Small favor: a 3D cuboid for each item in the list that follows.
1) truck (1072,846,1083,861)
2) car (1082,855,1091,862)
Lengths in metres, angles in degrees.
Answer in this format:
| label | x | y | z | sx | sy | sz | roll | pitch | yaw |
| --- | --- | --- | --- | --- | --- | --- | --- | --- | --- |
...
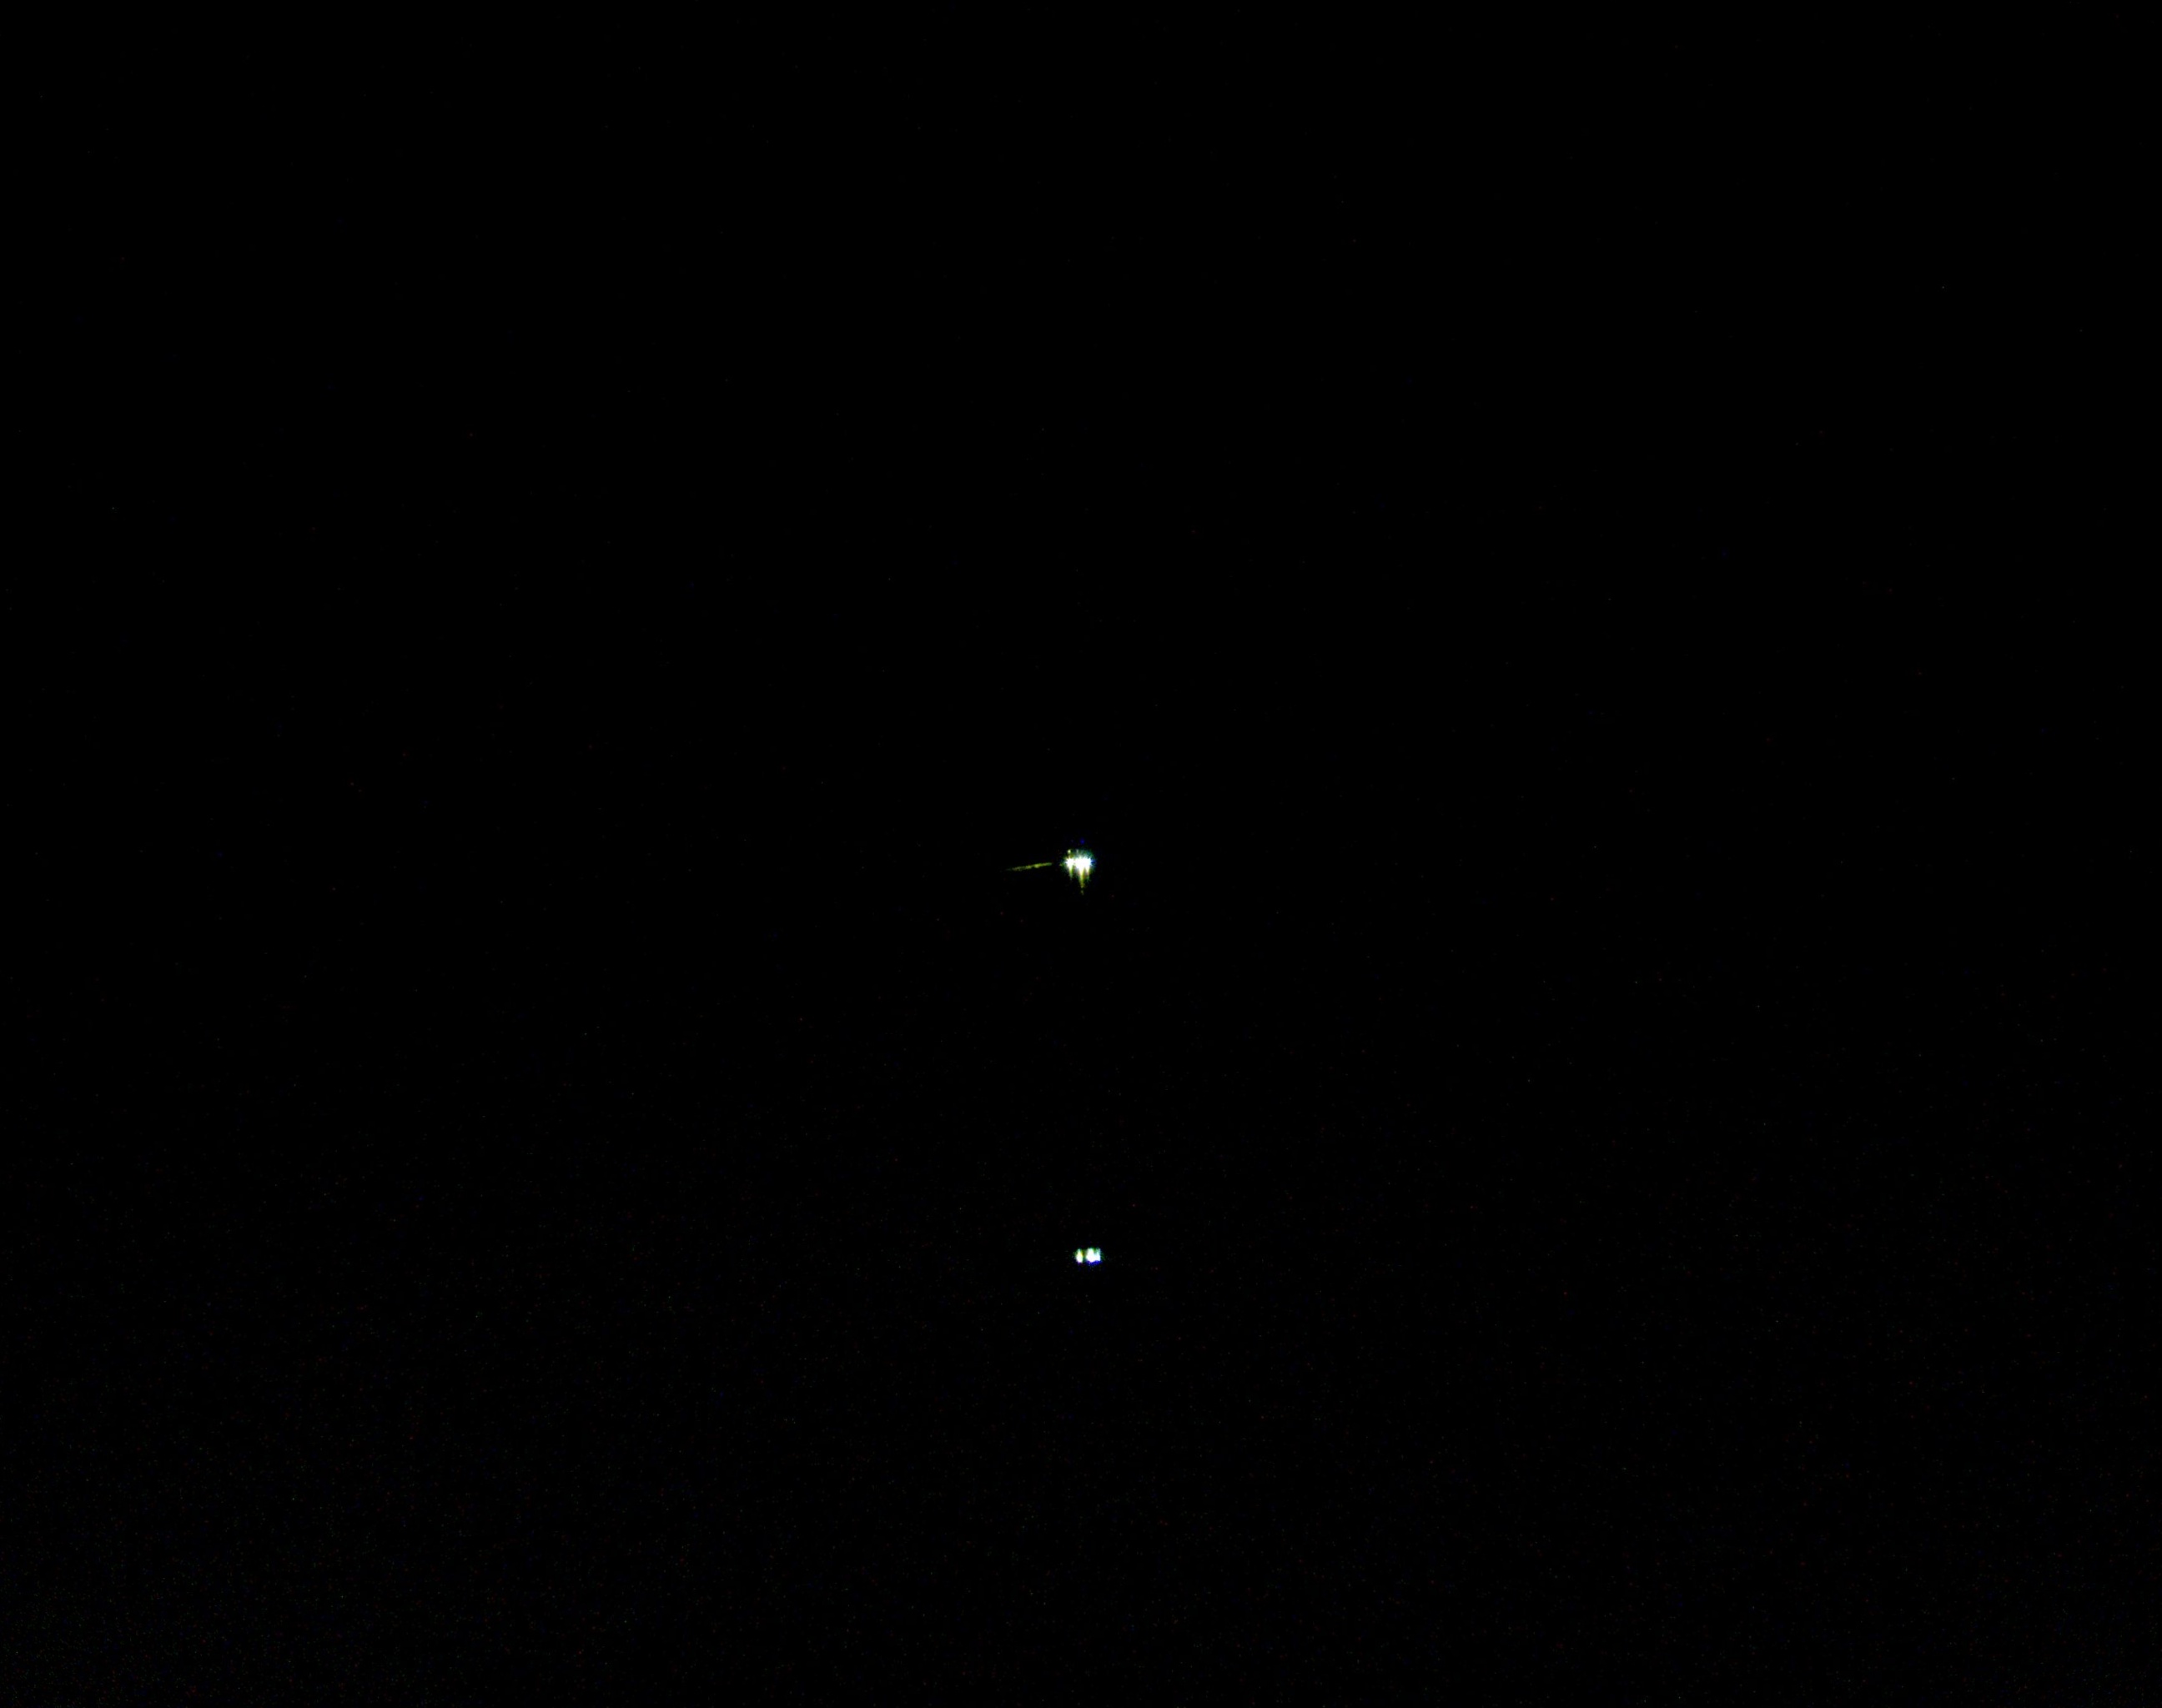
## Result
| label | x | y | z | sx | sy | sz | roll | pitch | yaw |
| --- | --- | --- | --- | --- | --- | --- | --- | --- | --- |
| truck | -0.997 | -0.012 | 216.226 | 3.003 | 3.876 | 12.889 | -3 | 0 | 0 |
| car | 1.307 | 0.967 | 177.231 | 1.845 | 1.474 | 4.293 | -3 | 0 | 2 |
